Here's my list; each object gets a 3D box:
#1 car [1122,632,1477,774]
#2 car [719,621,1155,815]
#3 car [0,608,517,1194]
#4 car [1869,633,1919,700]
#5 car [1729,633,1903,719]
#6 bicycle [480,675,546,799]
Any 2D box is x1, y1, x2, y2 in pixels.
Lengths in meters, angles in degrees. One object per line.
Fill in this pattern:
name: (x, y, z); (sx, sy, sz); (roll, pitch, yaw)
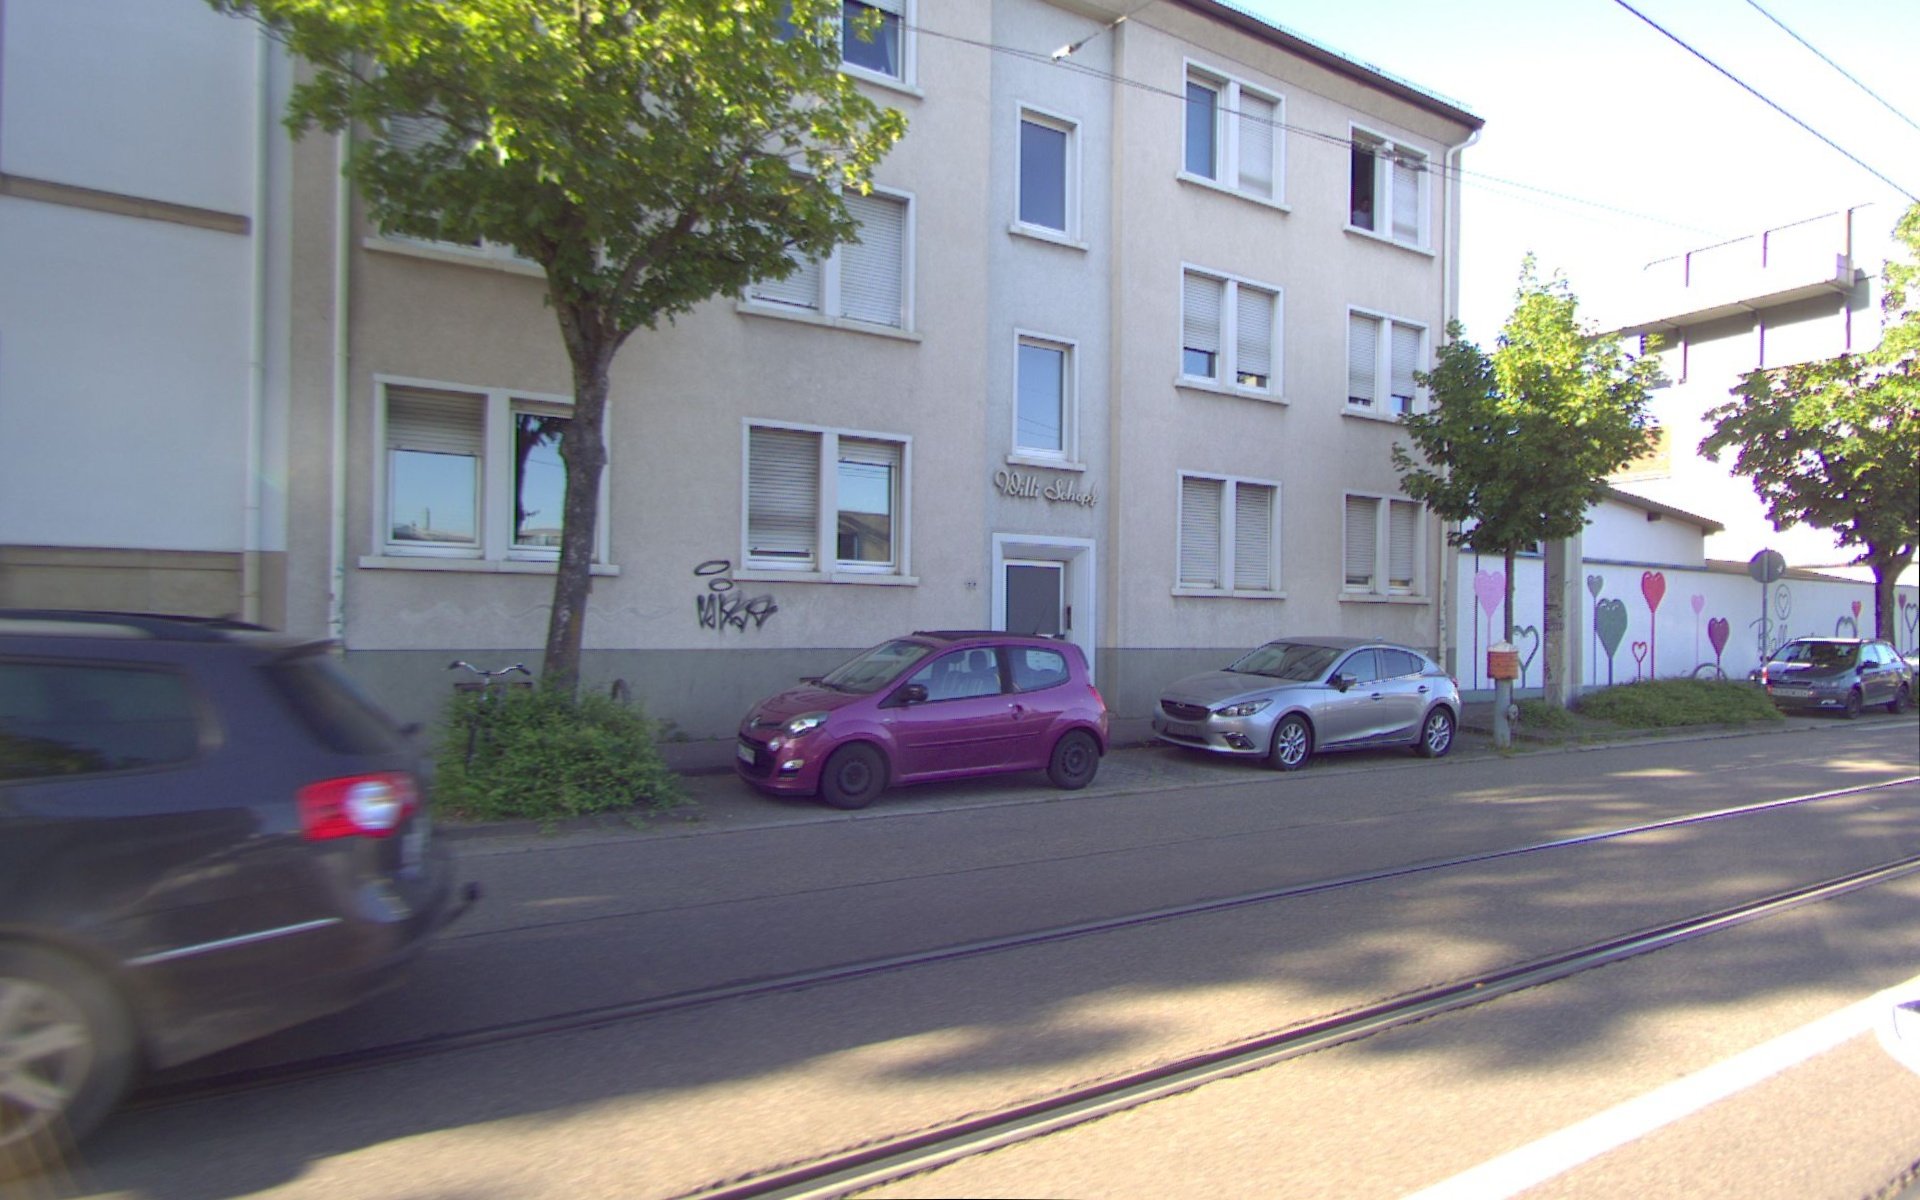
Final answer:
car: (4.283, 1.173, 12.538); (4.242, 1.448, 1.864); (2, 0, -30)
car: (-0.156, 1.015, 9.738); (3.953, 1.525, 1.564); (2, 0, -30)
car: (-3.842, 0.759, 2.867); (4.683, 1.482, 1.761); (2, -2, -25)
car: (23.913, 1.595, 24.080); (4.607, 1.510, 1.855); (2, 0, -31)
car: (17.259, 1.454, 20.187); (4.265, 1.505, 1.760); (2, 0, -37)
bicycle: (-3.814, 1.112, 8.524); (0.273, 0.813, 1.777); (1, 0, -31)
